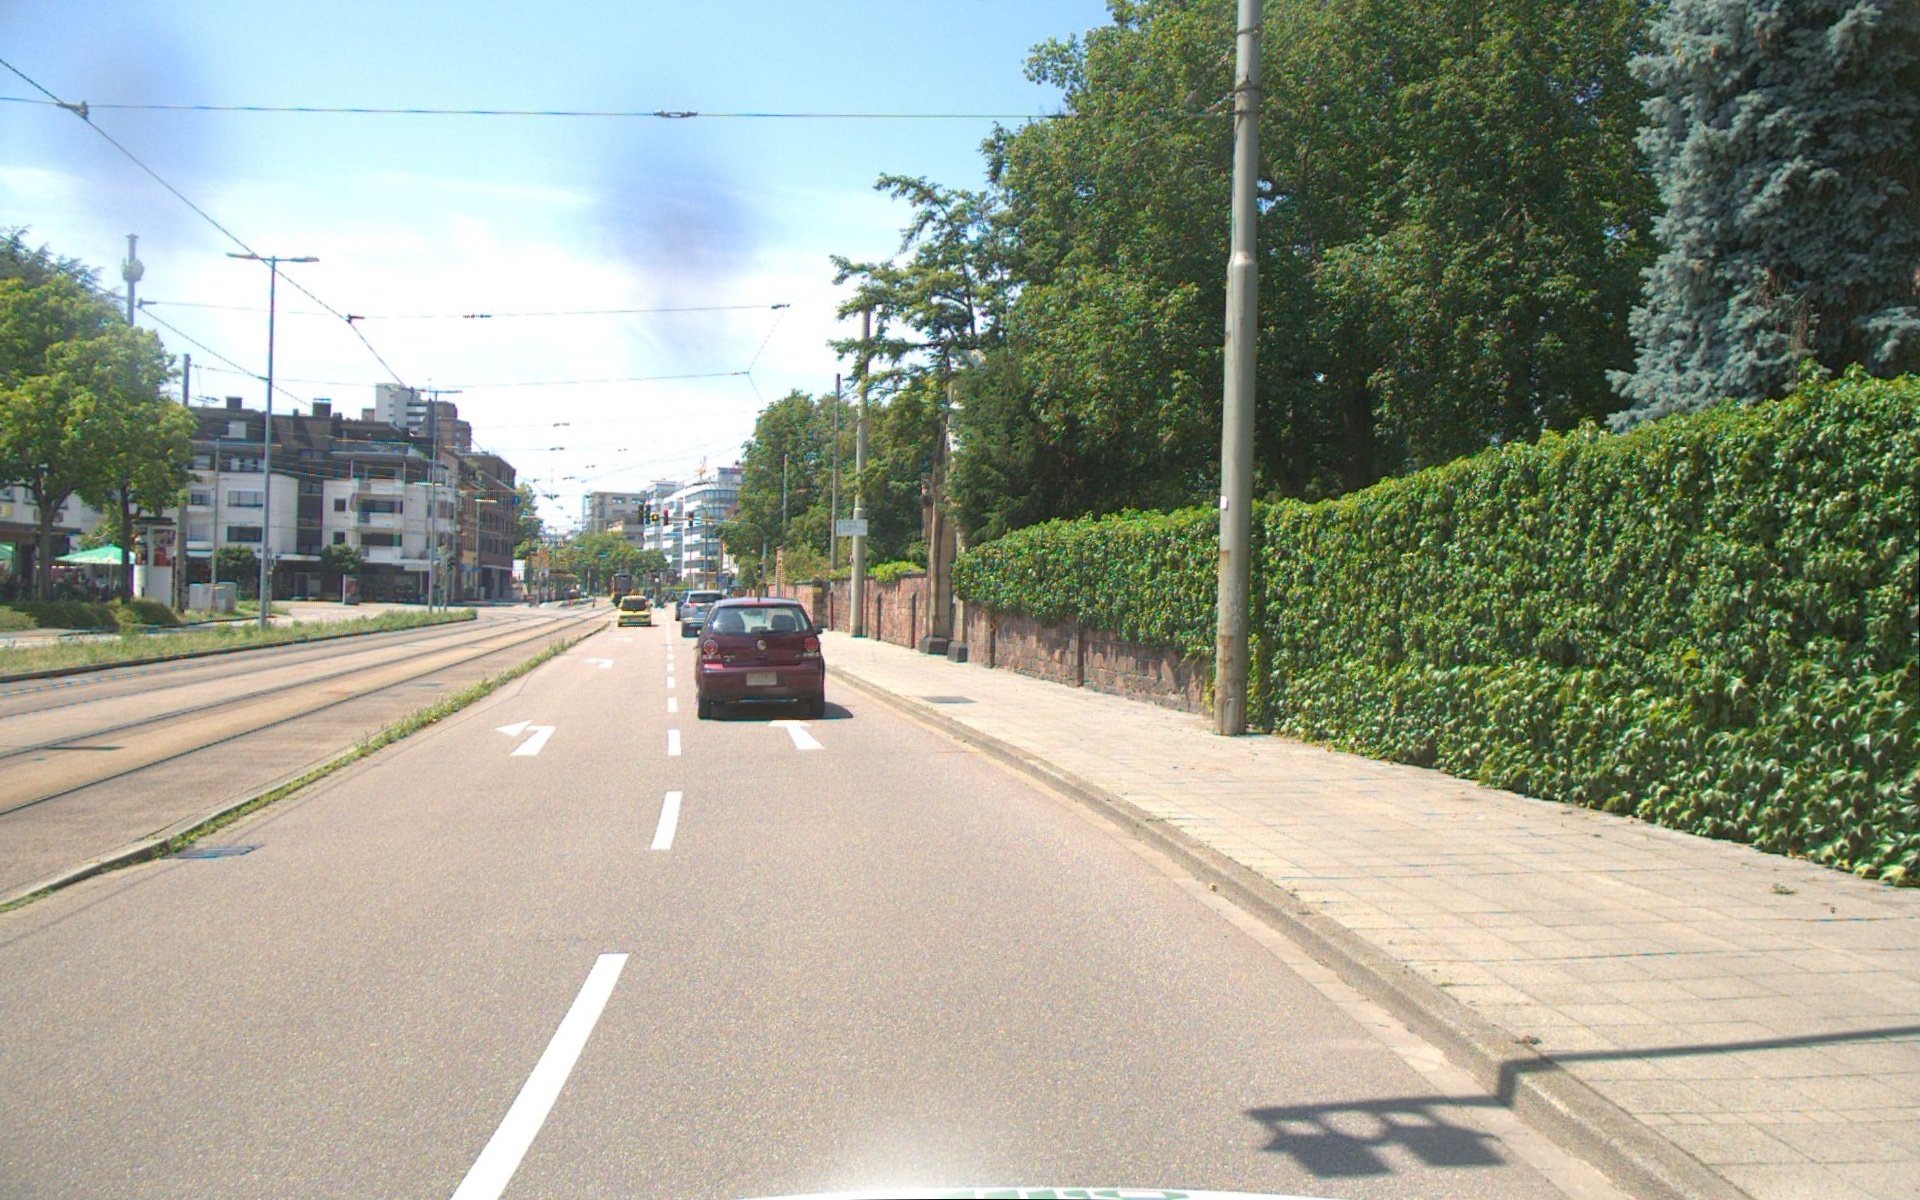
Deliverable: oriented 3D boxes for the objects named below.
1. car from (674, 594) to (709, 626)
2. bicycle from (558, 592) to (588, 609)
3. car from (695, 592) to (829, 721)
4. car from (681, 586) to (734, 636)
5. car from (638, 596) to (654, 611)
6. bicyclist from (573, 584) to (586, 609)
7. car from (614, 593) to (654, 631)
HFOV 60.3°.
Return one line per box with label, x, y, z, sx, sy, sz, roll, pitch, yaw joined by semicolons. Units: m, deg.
car;-14.812;0.541;91.307;1.741;1.659;3.992;2;0;-8
bicycle;-33.227;0.014;142.001;2.476;1.444;0.633;1;0;-24
car;-2.679;0.674;21.783;1.580;1.524;3.991;0;0;-9
car;-9.329;0.401;61.312;1.761;1.712;3.994;2;0;-7
car;-27.671;0.282;145.883;1.329;1.274;2.965;2;0;-10
bicyclist;-32.711;-0.303;142.271;0.943;2.128;0.847;1;0;-23
car;-15.836;0.574;80.513;1.762;1.712;3.991;2;0;-10
